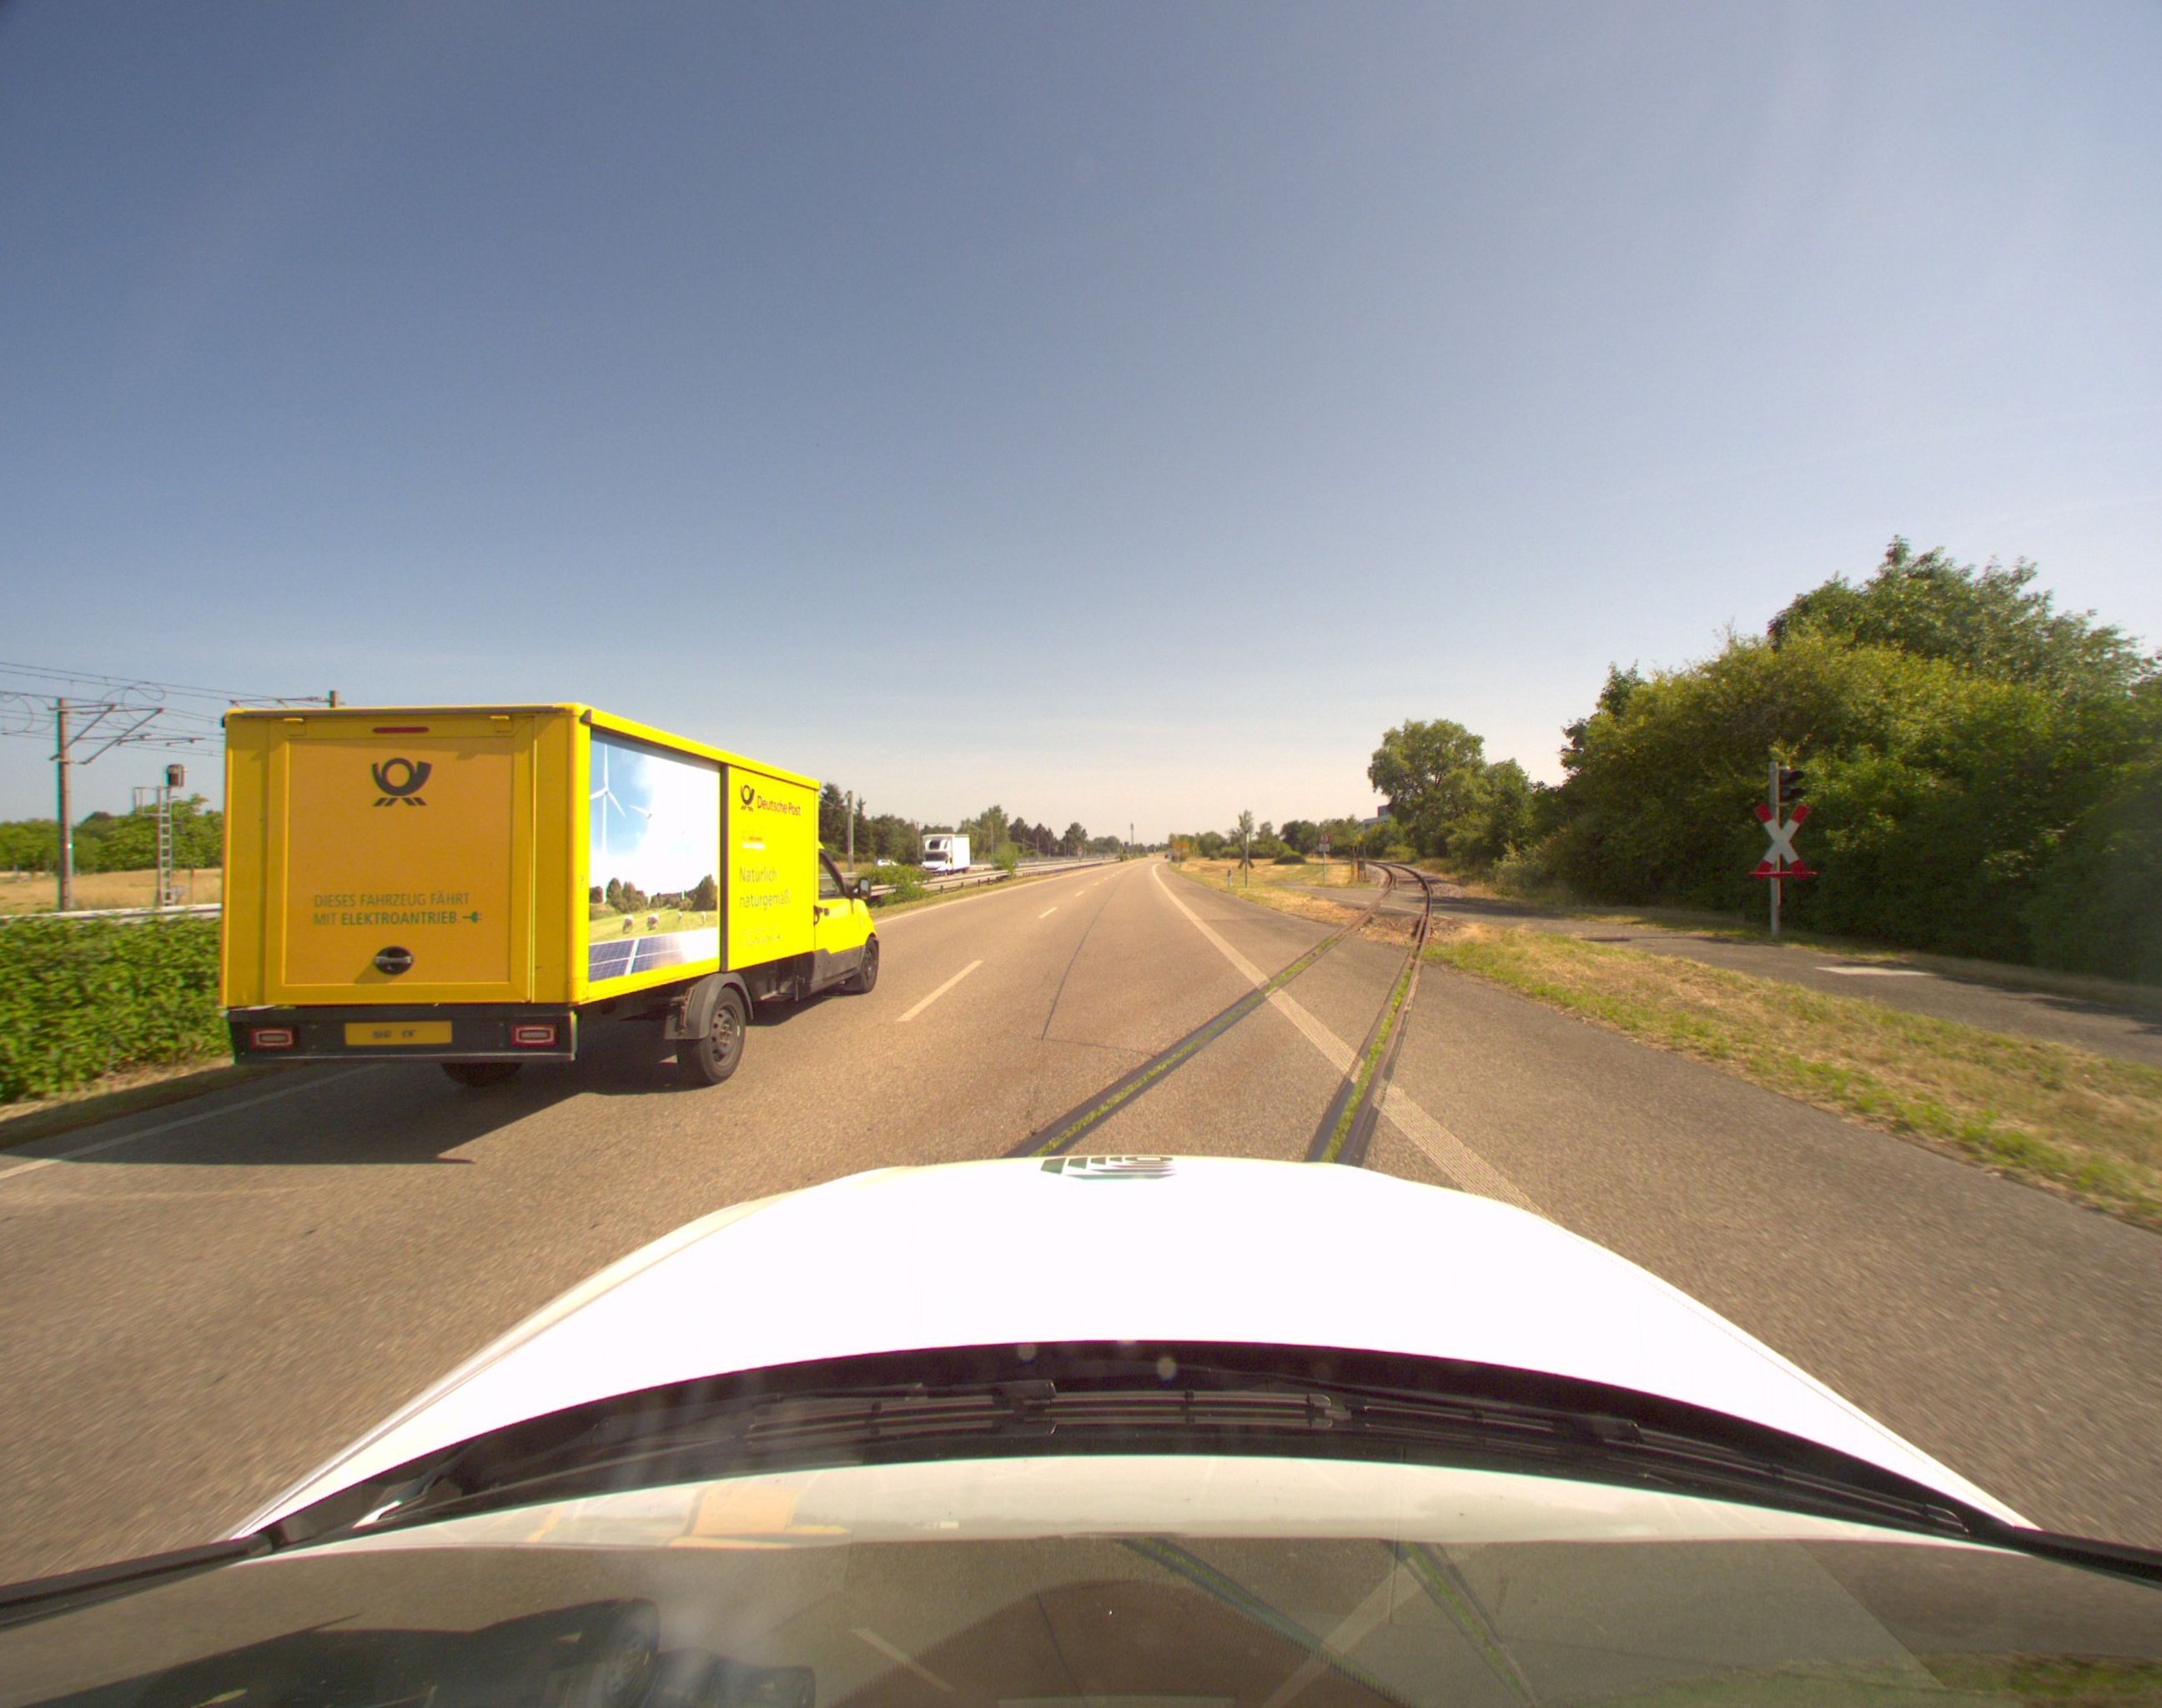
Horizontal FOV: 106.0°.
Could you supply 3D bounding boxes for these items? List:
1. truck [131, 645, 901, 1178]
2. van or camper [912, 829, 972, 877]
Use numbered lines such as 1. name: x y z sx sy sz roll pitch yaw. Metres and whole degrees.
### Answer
1. truck: -3.317 0.265 6.784 2.104 2.457 5.919 -1 0 1
2. van or camper: -11.481 -0.096 68.168 2.863 3.680 8.655 -1 0 5
